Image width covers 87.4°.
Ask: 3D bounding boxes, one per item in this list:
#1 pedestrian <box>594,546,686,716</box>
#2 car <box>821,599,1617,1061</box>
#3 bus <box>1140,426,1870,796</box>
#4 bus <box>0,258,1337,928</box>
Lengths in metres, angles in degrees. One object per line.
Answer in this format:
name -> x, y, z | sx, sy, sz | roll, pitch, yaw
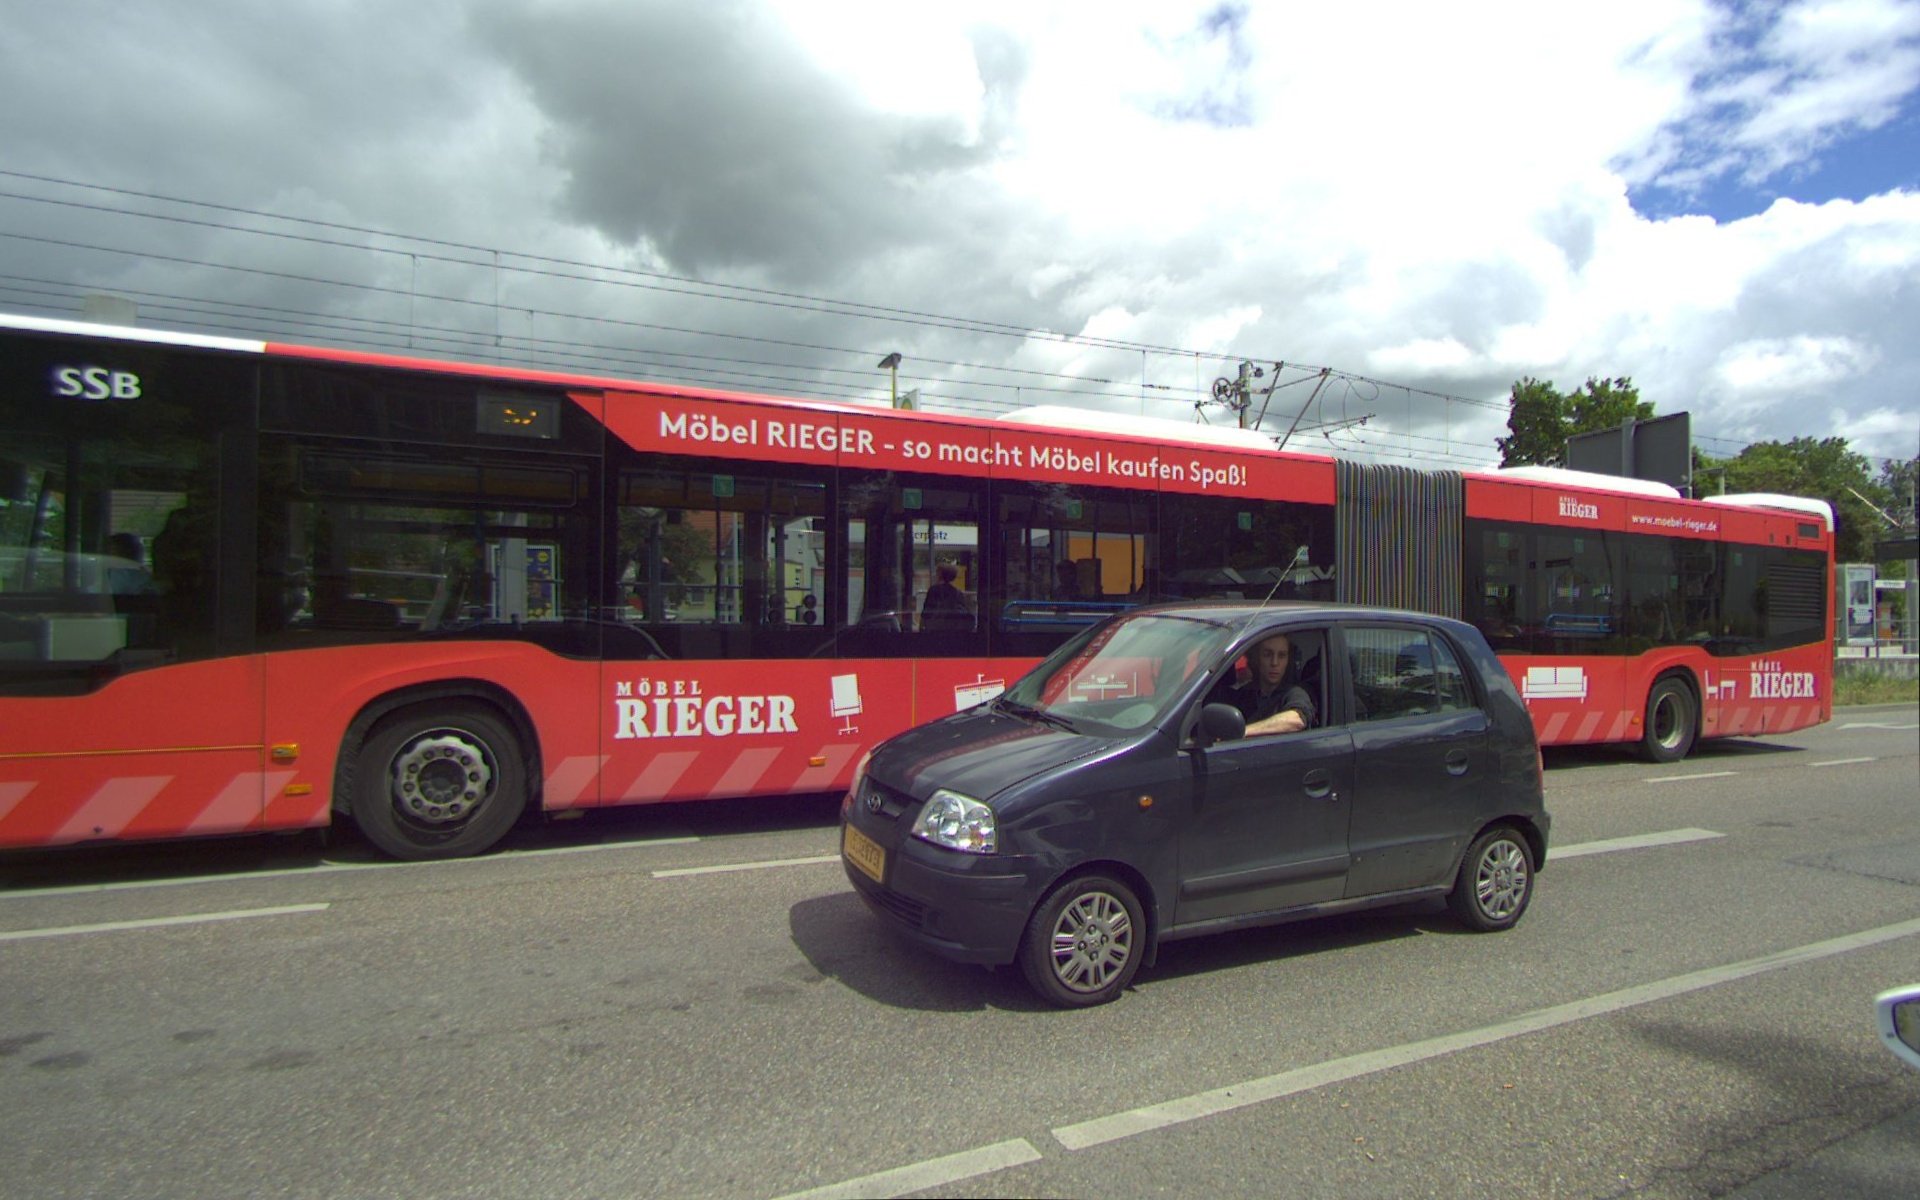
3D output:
pedestrian -> -4.045, 0.395, 12.671 | 1.014, 2.040, 0.969 | 1, -2, -22
car -> 1.325, 0.819, 4.935 | 3.683, 1.572, 1.524 | 1, 0, -26
bus -> 6.520, 0.157, 11.592 | 8.841, 3.110, 2.718 | 1, -1, -25
bus -> -1.724, 0.028, 7.580 | 9.573, 3.150, 2.718 | 1, -1, -26
